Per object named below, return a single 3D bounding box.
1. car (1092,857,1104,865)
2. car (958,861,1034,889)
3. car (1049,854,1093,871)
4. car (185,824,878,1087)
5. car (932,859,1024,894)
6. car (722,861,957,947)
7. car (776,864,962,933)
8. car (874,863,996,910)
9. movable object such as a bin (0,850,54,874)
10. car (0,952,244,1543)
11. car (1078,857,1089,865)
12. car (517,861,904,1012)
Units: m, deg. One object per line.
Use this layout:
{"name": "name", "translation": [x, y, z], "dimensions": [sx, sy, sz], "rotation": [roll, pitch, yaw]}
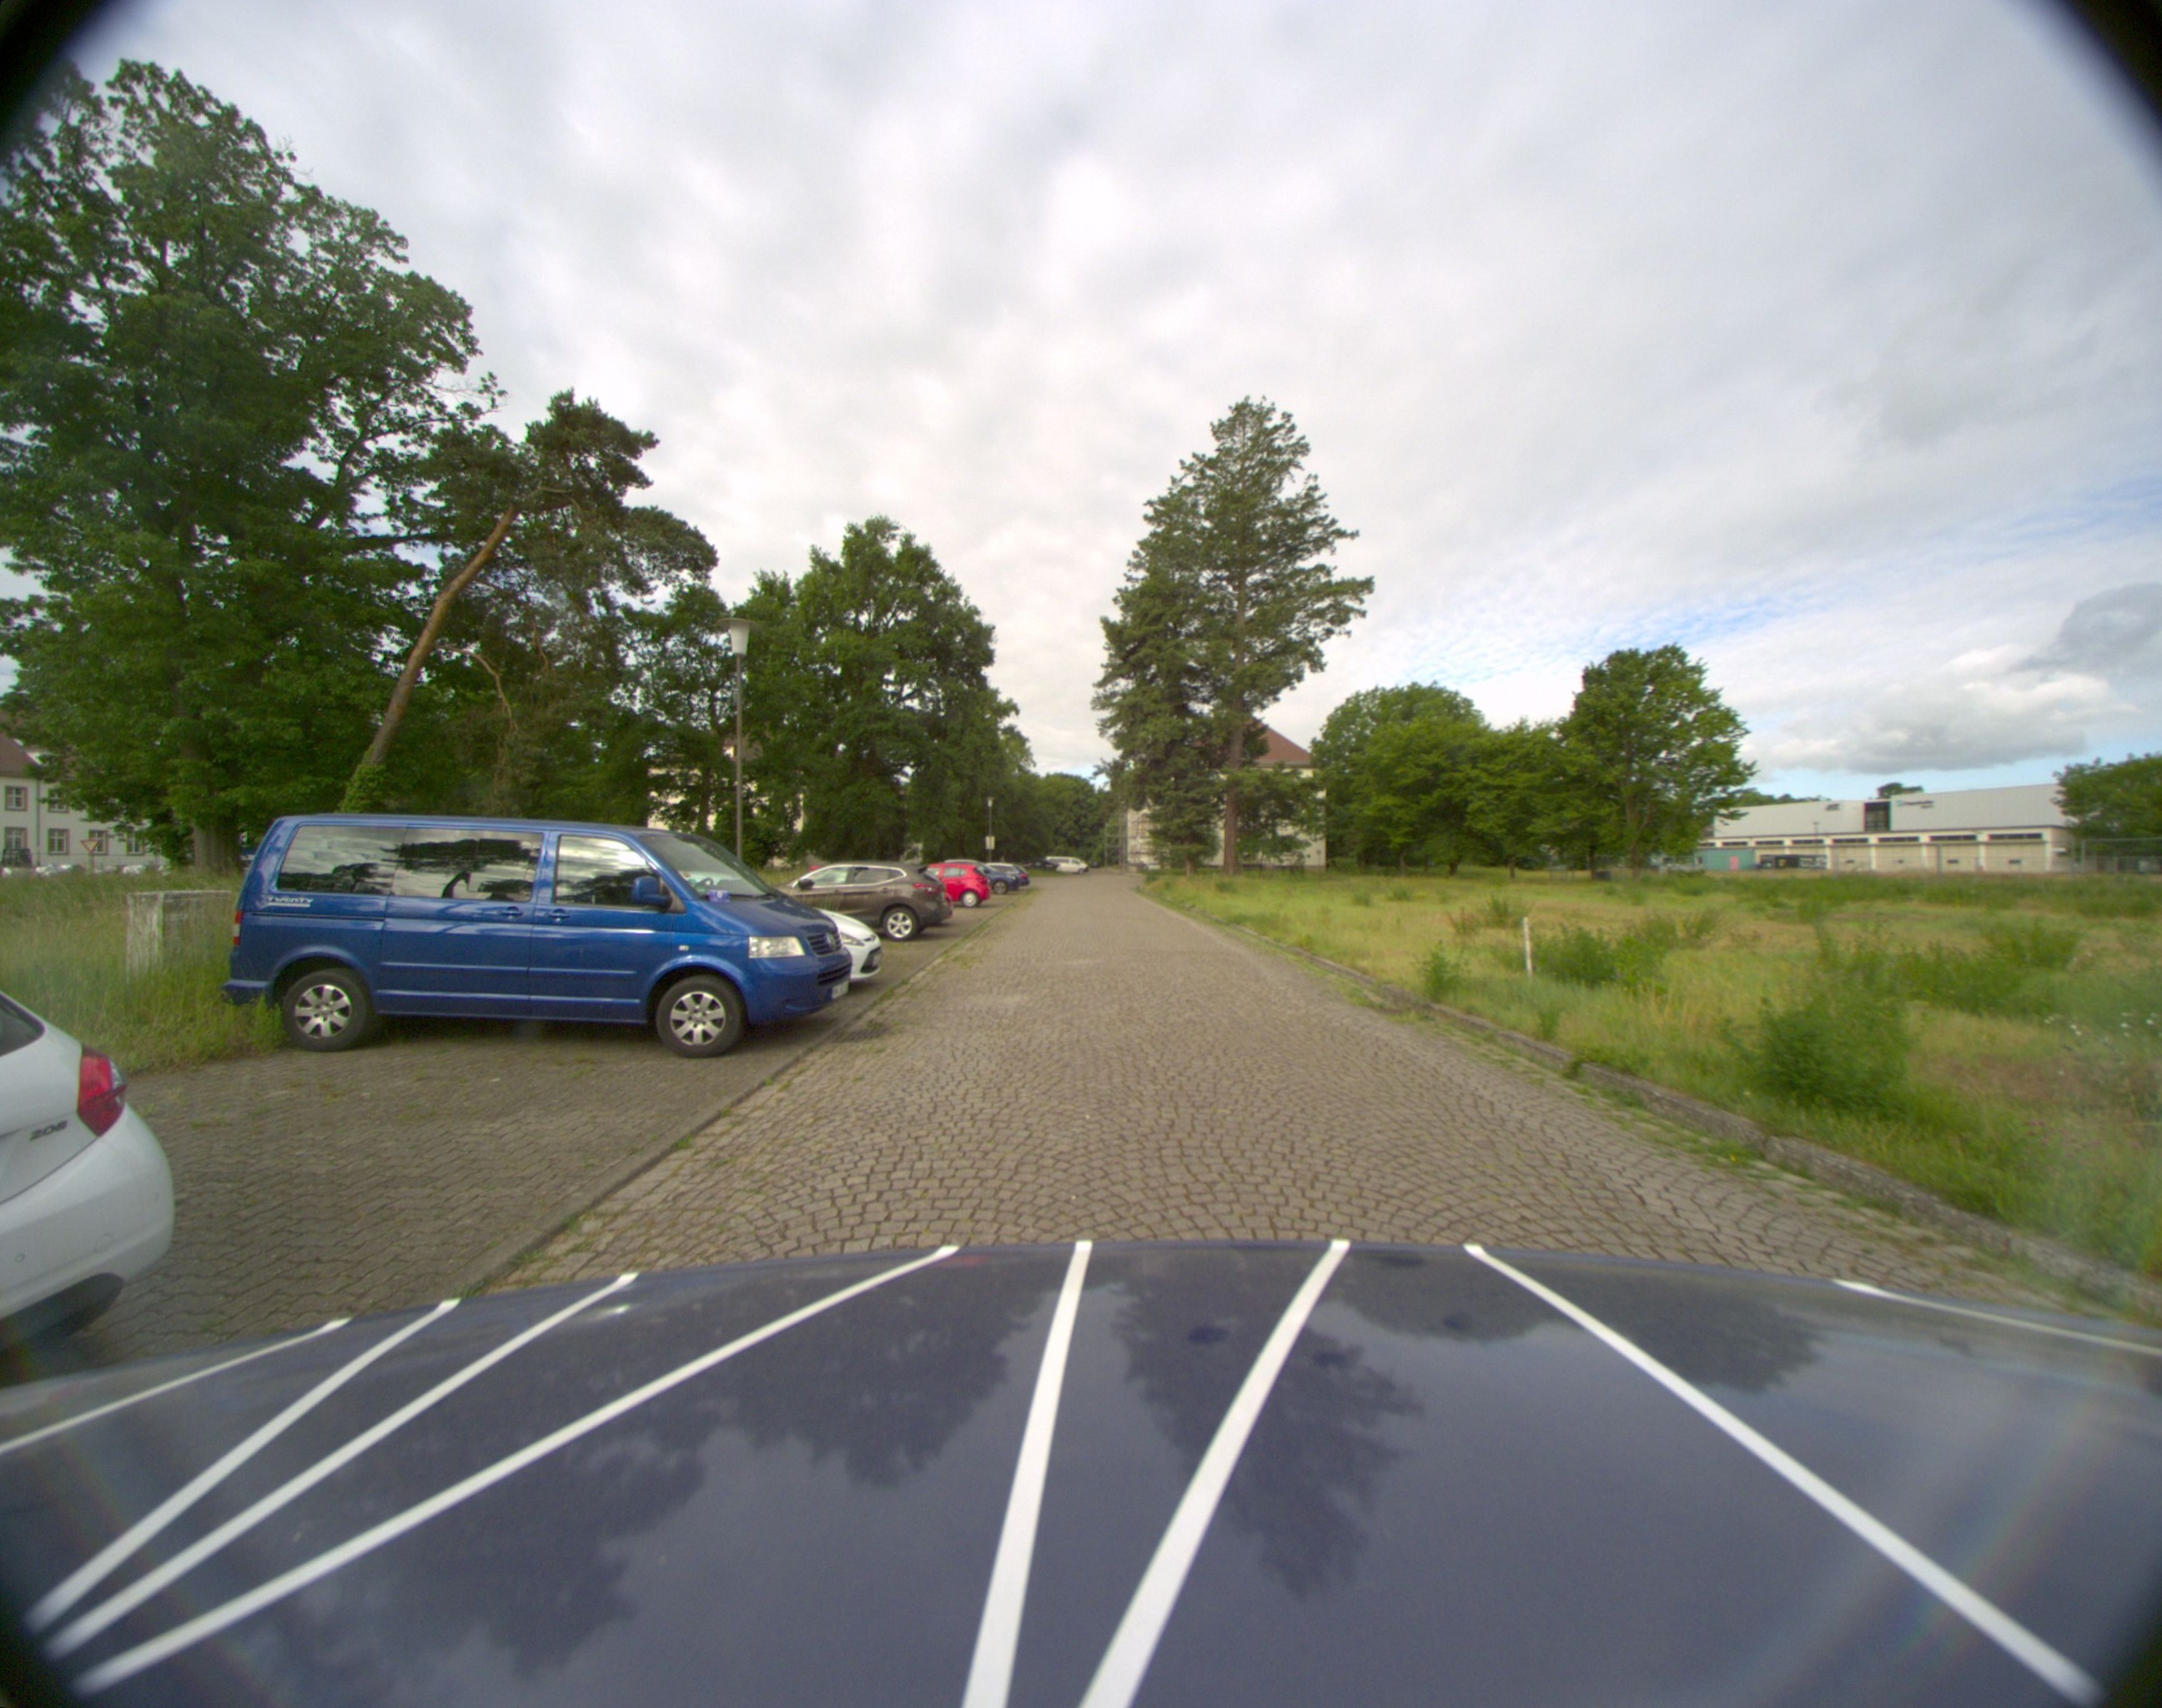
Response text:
{"name": "car", "translation": [3.450, 1.407, 156.844], "dimensions": [1.870, 1.408, 4.694], "rotation": [2, 0, -5]}
{"name": "car", "translation": [-4.549, 1.124, 41.005], "dimensions": [3.878, 1.417, 1.582], "rotation": [1, 0, -2]}
{"name": "car", "translation": [-1.209, 0.946, 89.840], "dimensions": [5.141, 1.860, 1.723], "rotation": [1, 0, -2]}
{"name": "car", "translation": [-4.564, 0.818, 6.989], "dimensions": [4.820, 1.934, 2.003], "rotation": [2, 0, -2]}
{"name": "car", "translation": [-4.866, 1.046, 36.342], "dimensions": [4.150, 1.529, 1.582], "rotation": [1, 0, -2]}
{"name": "car", "translation": [-4.879, 0.997, 15.823], "dimensions": [4.271, 1.589, 1.822], "rotation": [1, 0, -2]}
{"name": "car", "translation": [-5.069, 1.046, 18.549], "dimensions": [4.016, 1.477, 1.766], "rotation": [1, 0, 0]}
{"name": "car", "translation": [-4.947, 1.085, 26.100], "dimensions": [3.895, 1.451, 1.582], "rotation": [1, 0, -2]}
{"name": "movable object such as a bin", "translation": [-90.676, 0.670, 65.000], "dimensions": [1.553, 2.002, 2.985], "rotation": [0, 0, 0]}
{"name": "car", "translation": [-4.764, 1.020, 1.680], "dimensions": [3.872, 1.463, 1.758], "rotation": [2, 0, 1]}
{"name": "car", "translation": [0.567, 1.440, 156.274], "dimensions": [1.870, 1.408, 4.694], "rotation": [2, 0, -5]}
{"name": "car", "translation": [-4.408, 0.956, 9.556], "dimensions": [3.873, 1.463, 1.841], "rotation": [4, 0, -2]}
